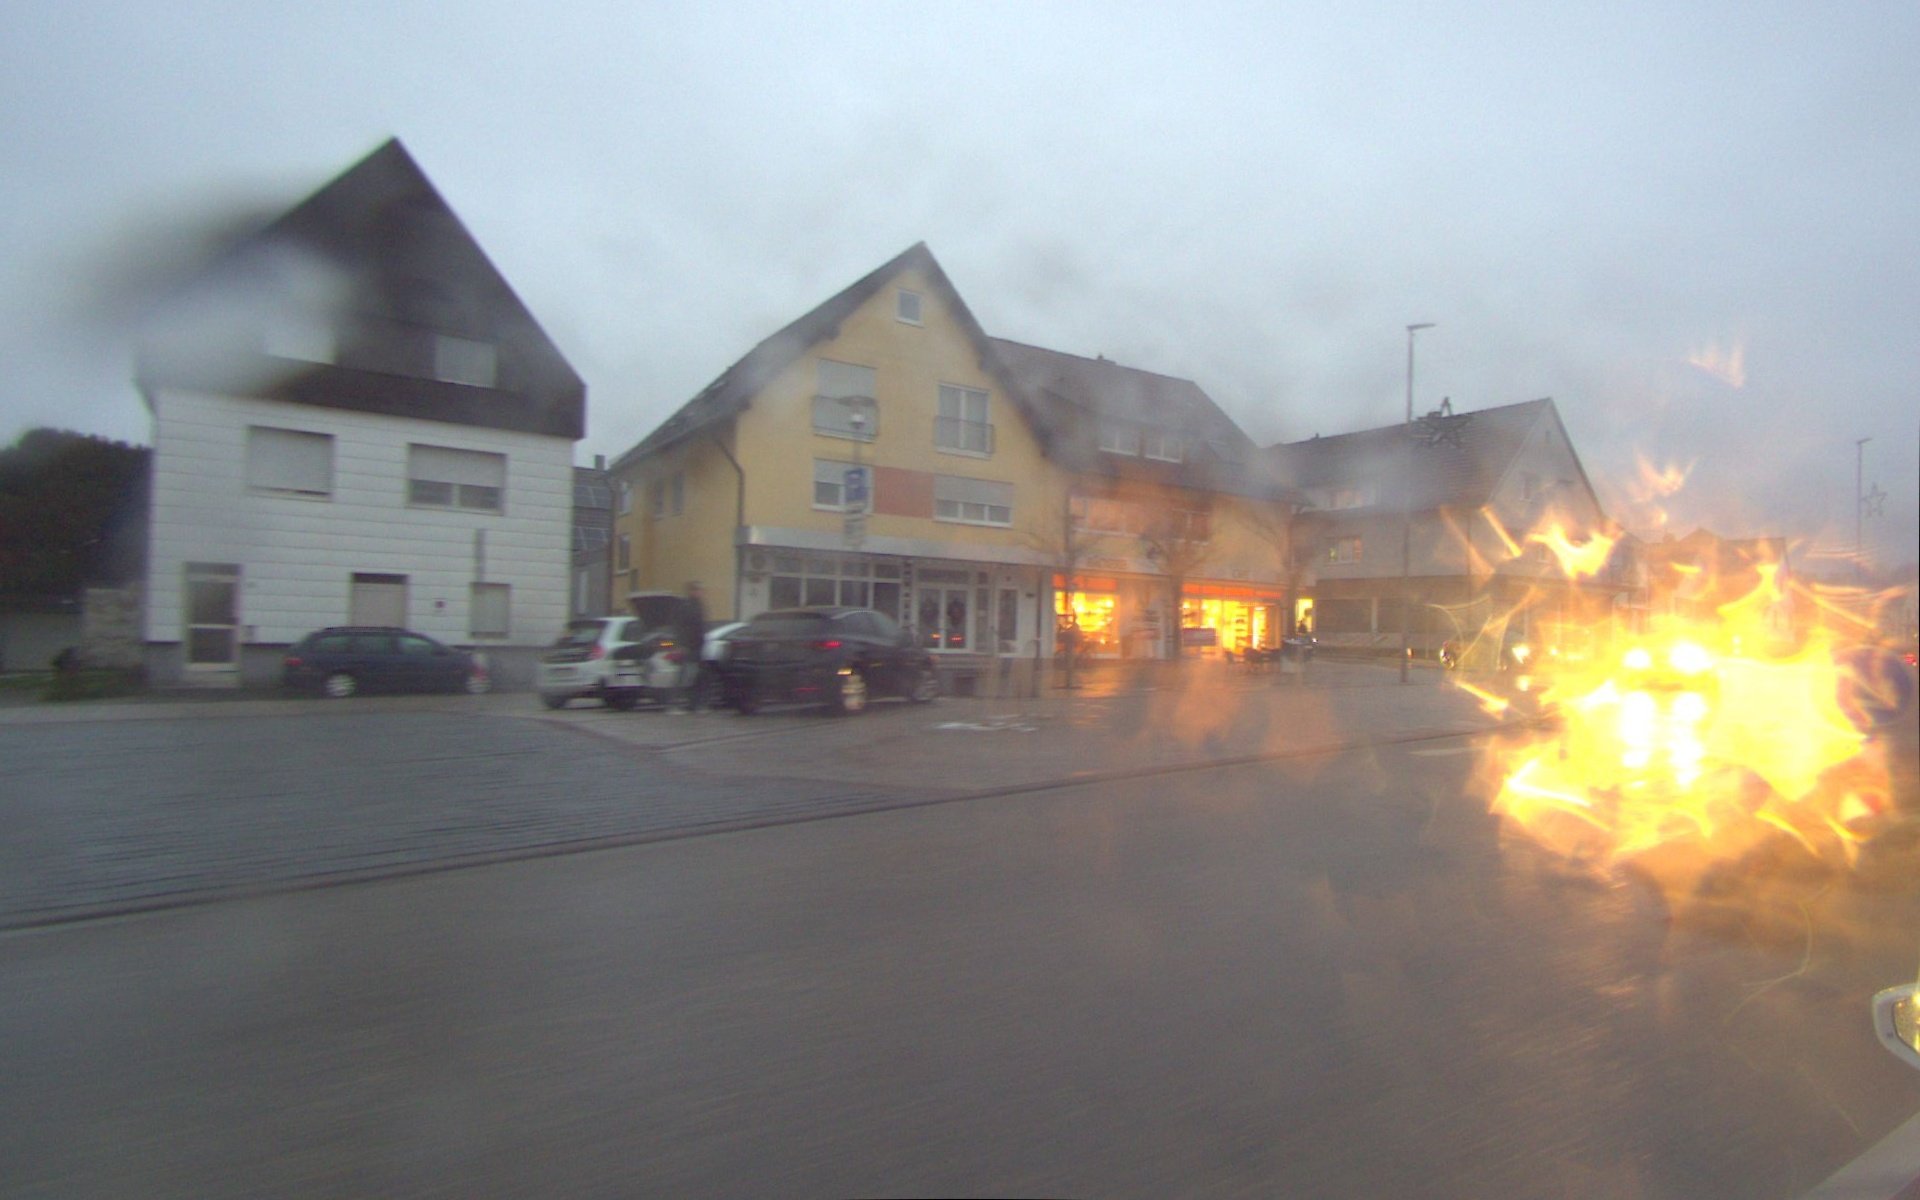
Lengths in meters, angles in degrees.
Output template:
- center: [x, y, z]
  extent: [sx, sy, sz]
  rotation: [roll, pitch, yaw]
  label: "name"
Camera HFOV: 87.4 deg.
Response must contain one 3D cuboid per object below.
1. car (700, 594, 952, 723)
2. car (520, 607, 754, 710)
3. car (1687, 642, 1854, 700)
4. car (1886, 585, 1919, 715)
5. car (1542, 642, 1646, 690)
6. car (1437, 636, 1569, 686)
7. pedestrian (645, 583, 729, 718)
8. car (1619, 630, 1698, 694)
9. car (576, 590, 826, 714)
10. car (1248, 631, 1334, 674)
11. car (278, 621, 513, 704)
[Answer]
- center: [-1.722, 0.777, 14.502]
  extent: [1.876, 1.551, 4.181]
  rotation: [1, -2, 20]
  label: "car"
- center: [-5.730, 1.028, 18.297]
  extent: [1.733, 1.652, 3.995]
  rotation: [-2, -3, 28]
  label: "car"
- center: [26.889, 2.303, 33.452]
  extent: [1.687, 1.684, 4.028]
  rotation: [2, -1, -35]
  label: "car"
- center: [16.568, 0.804, 14.159]
  extent: [1.967, 2.040, 4.885]
  rotation: [2, -1, -15]
  label: "car"
- center: [21.742, 2.266, 34.405]
  extent: [3.977, 1.440, 1.697]
  rotation: [5, -3, -37]
  label: "car"
- center: [17.797, 1.970, 33.119]
  extent: [1.687, 1.440, 3.829]
  rotation: [3, -2, -14]
  label: "car"
- center: [-3.650, 0.667, 13.443]
  extent: [0.711, 1.734, 0.840]
  rotation: [-2, -2, 28]
  label: "pedestrian"
- center: [17.009, 1.459, 24.454]
  extent: [1.484, 1.430, 3.355]
  rotation: [0, -1, 36]
  label: "car"
- center: [-3.916, 0.798, 15.846]
  extent: [1.805, 1.692, 3.895]
  rotation: [-2, -3, 24]
  label: "car"
- center: [14.854, 2.341, 45.360]
  extent: [1.917, 1.614, 4.627]
  rotation: [1, 1, -6]
  label: "car"
- center: [-12.400, 1.301, 22.225]
  extent: [4.375, 1.520, 1.900]
  rotation: [1, 3, -33]
  label: "car"
